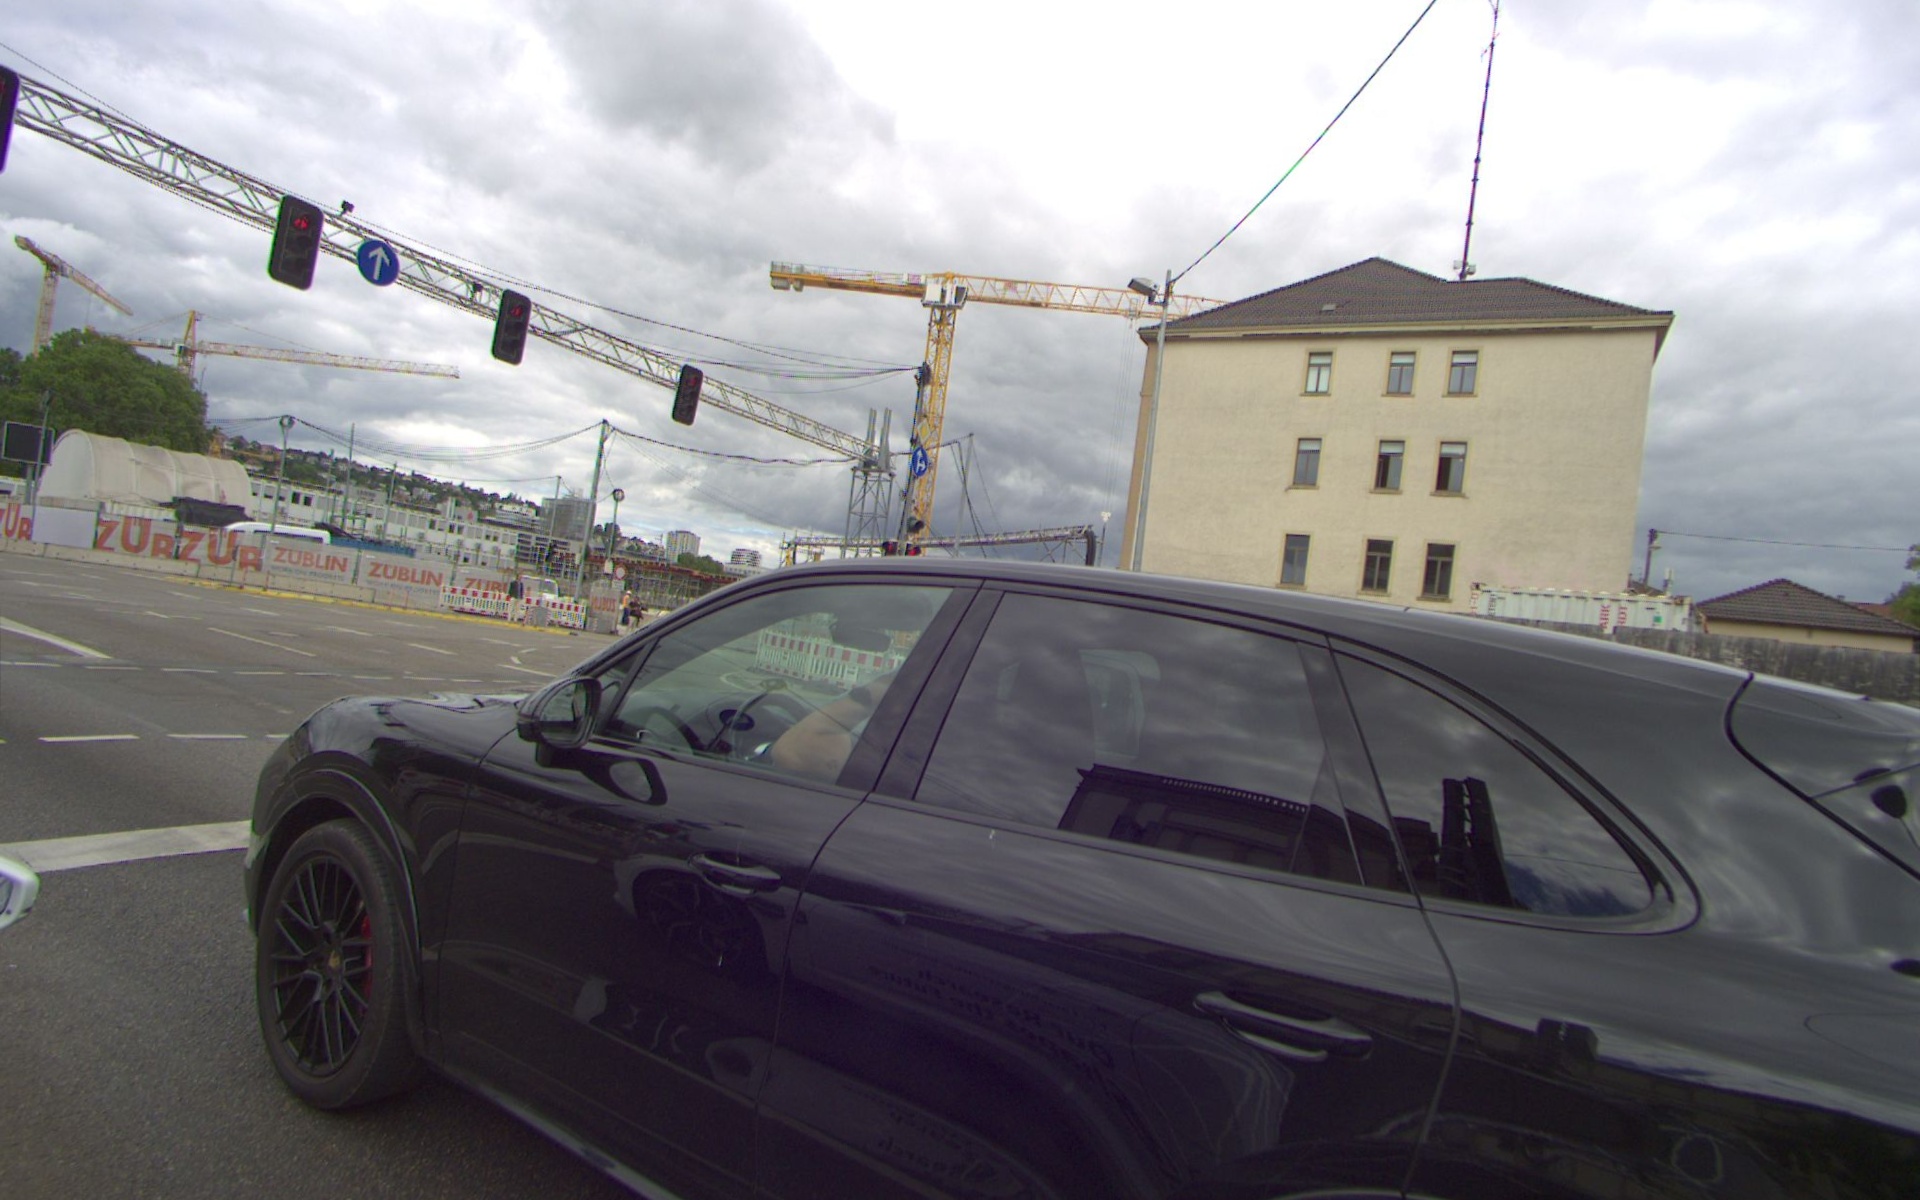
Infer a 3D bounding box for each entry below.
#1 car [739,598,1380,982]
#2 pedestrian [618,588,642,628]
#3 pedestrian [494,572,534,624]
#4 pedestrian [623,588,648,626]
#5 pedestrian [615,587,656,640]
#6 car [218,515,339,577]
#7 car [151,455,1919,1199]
[{"bbox_3d":[0.581,0.996,6.548,3.587,1.527,1.825,6,-2,33],"label":"car"},{"bbox_3d":[-17.640,0.443,53.821,0.855,2.037,0.677,6,-1,44],"label":"pedestrian"},{"bbox_3d":[-17.379,-0.063,39.194,1.040,1.869,0.781,8,-1,-42],"label":"pedestrian"},{"bbox_3d":[-17.643,0.405,54.768,0.850,1.938,0.680,7,-1,26],"label":"pedestrian"},{"bbox_3d":[-13.306,0.553,41.252,1.040,2.037,1.022,8,-1,-42],"label":"pedestrian"},{"bbox_3d":[-29.524,-2.326,43.638,3.976,2.037,1.976,9,-2,-43],"label":"car"},{"bbox_3d":[-0.001,0.687,2.711,4.505,1.687,1.996,6,-2,34],"label":"car"}]
